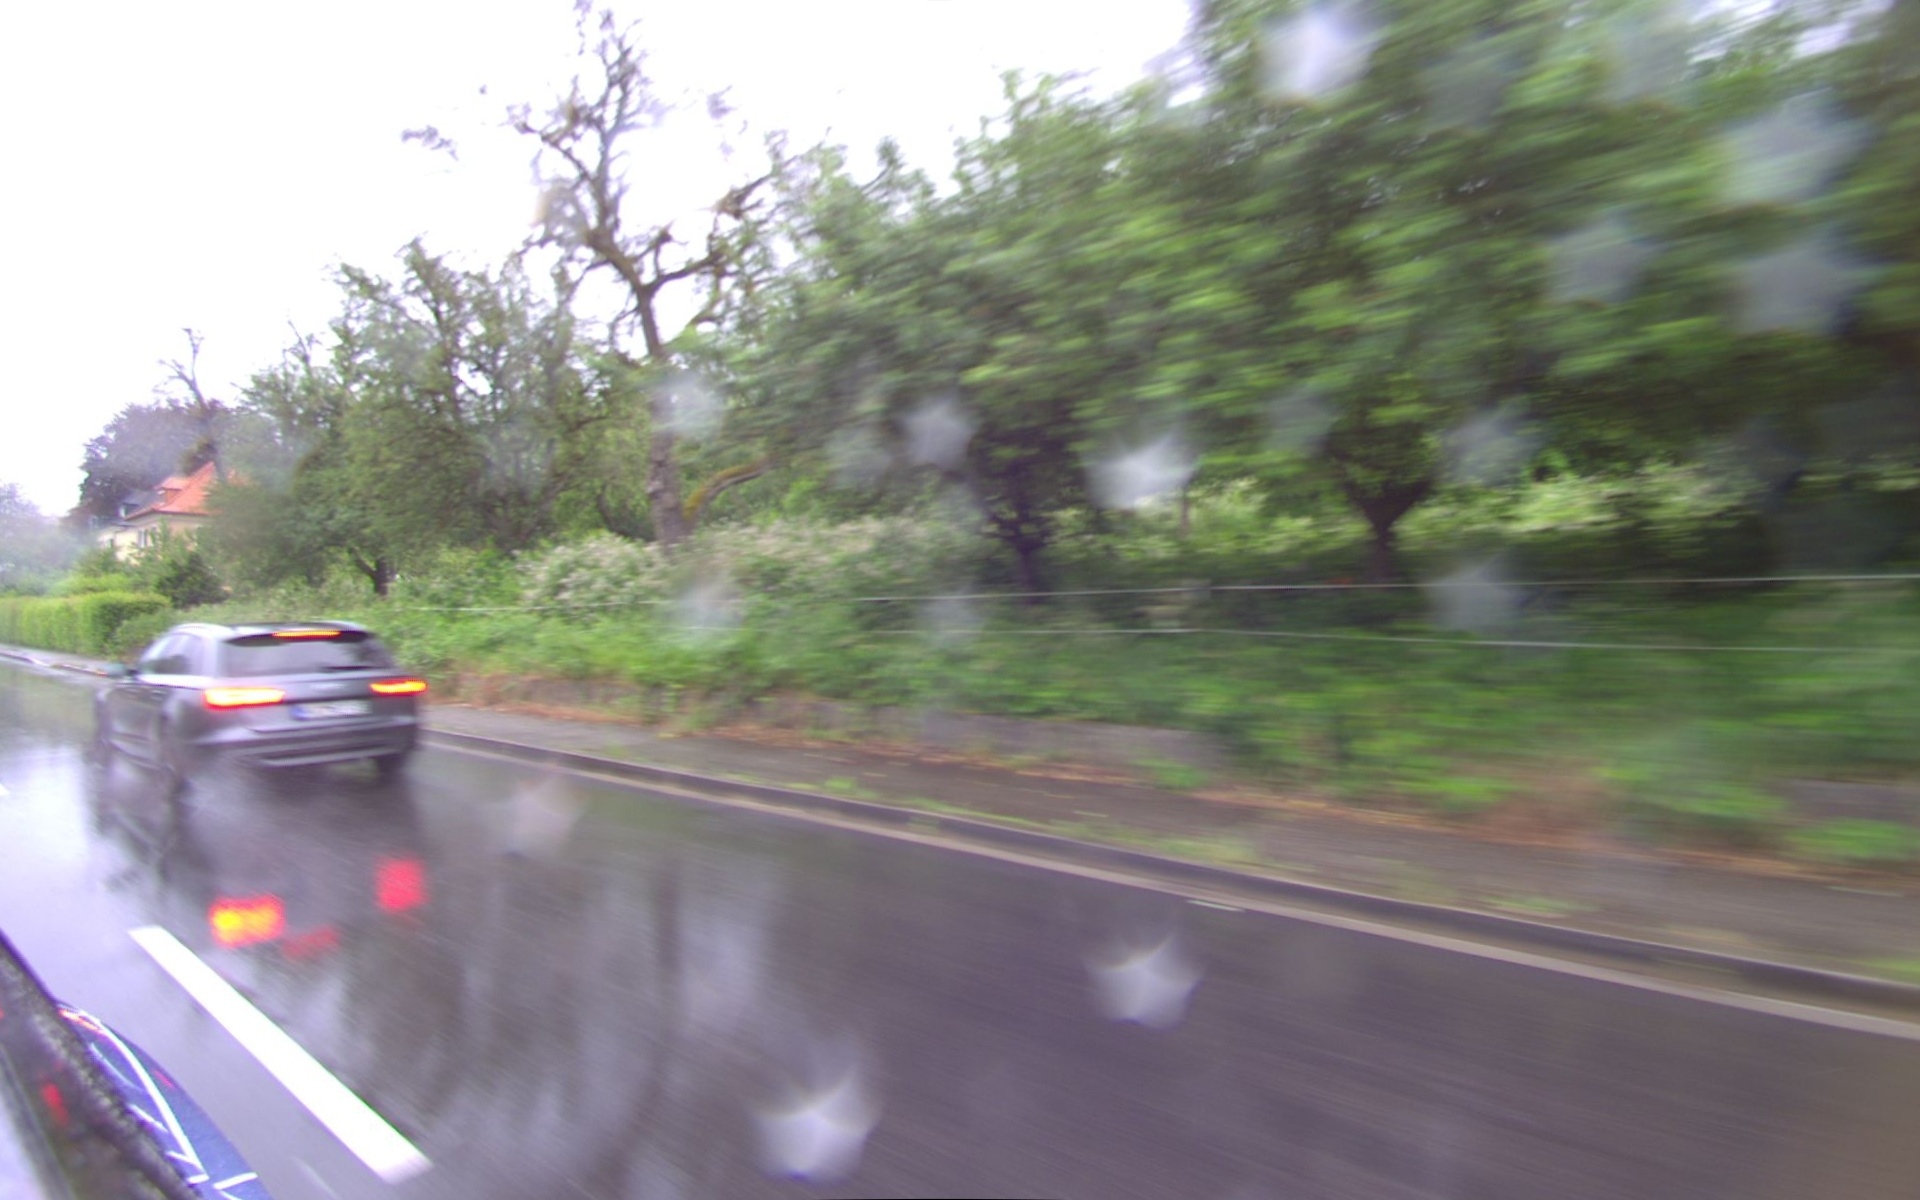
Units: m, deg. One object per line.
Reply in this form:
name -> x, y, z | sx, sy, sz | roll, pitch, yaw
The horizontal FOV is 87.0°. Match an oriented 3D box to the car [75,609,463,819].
car -> -6.617, 0.886, 9.483 | 4.426, 1.465, 1.973 | -2, -1, 41
